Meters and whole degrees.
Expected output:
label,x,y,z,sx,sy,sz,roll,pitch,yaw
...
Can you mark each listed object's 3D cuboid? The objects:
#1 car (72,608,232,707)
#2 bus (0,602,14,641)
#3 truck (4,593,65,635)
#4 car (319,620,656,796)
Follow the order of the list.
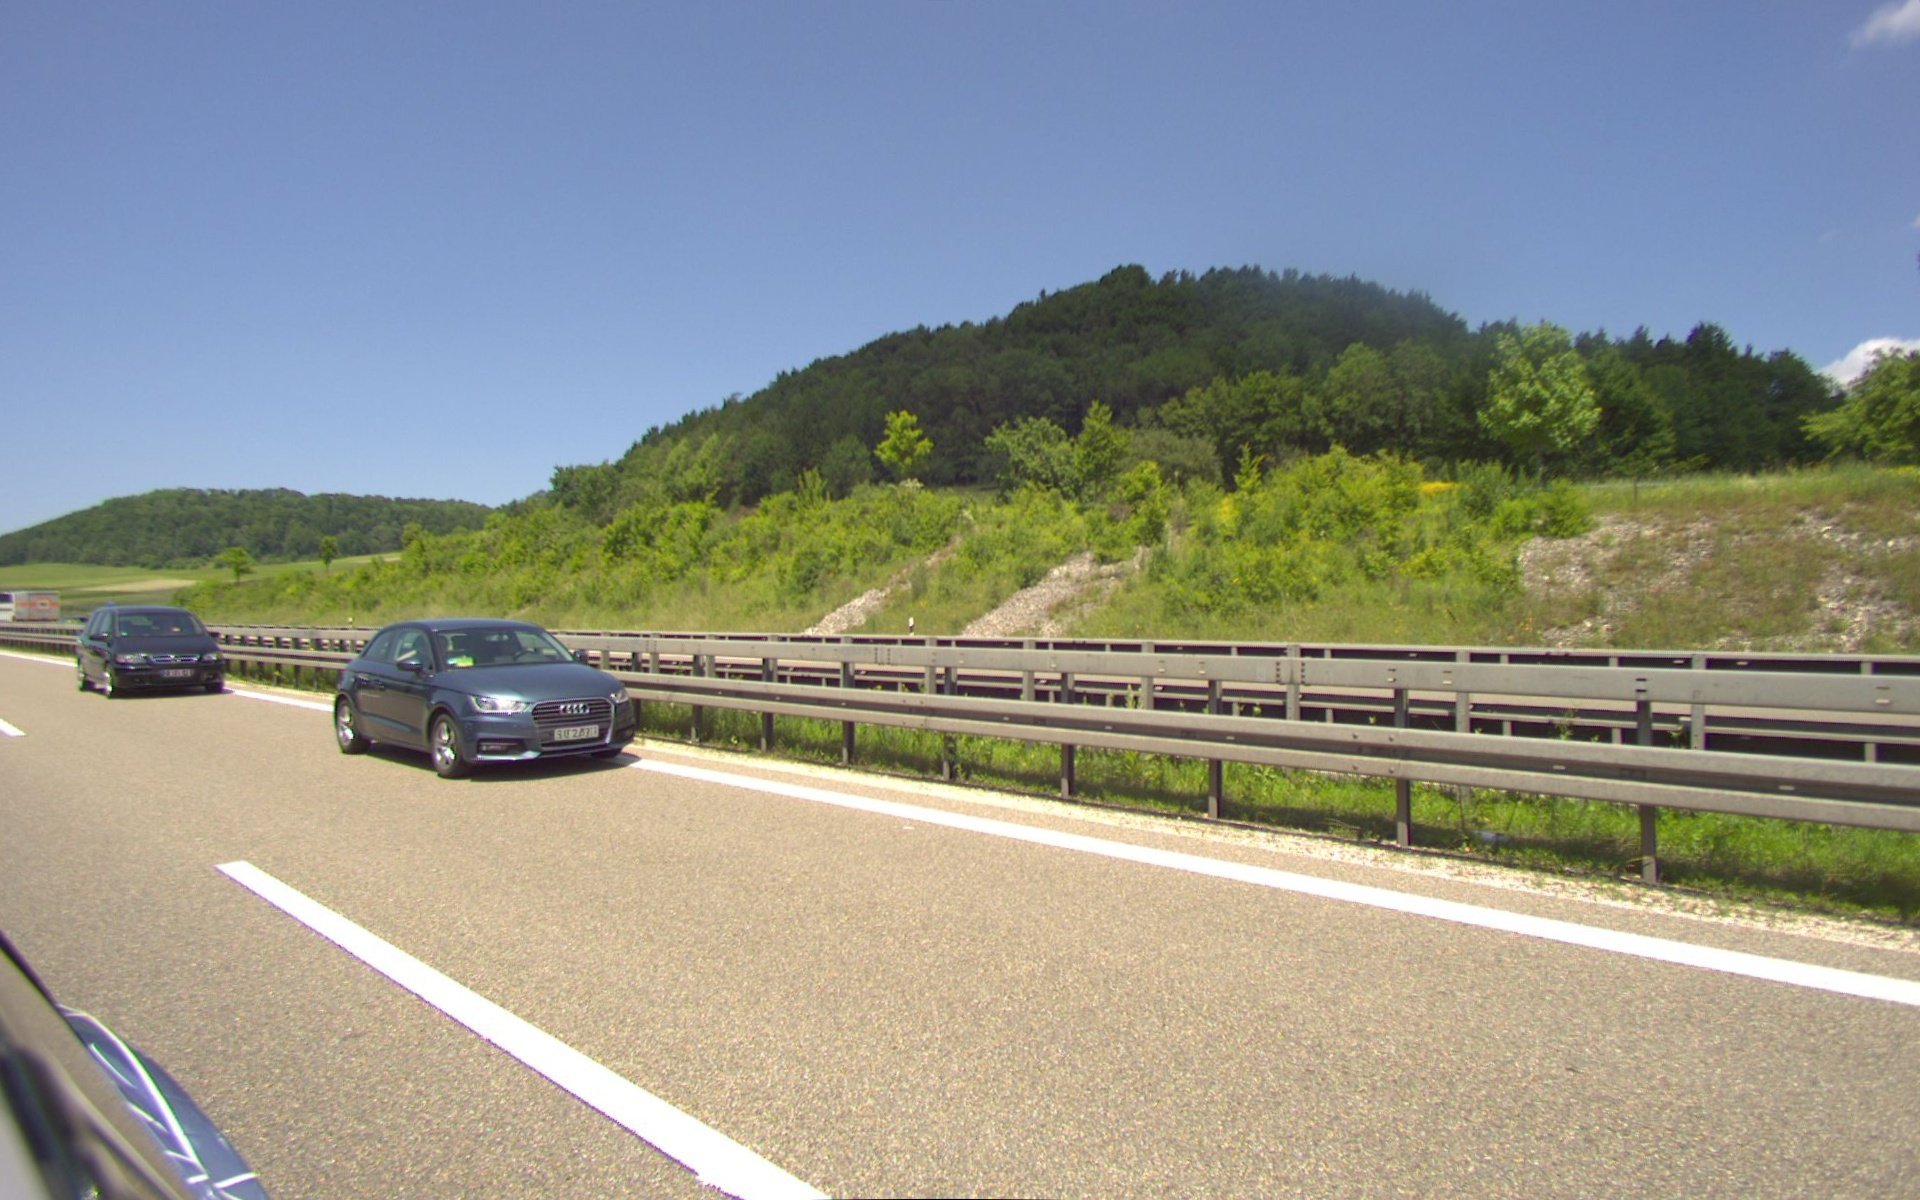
label,x,y,z,sx,sy,sz,roll,pitch,yaw
car,-15.314,0.999,19.104,4.447,1.647,1.781,-1,-1,44
bus,-97.104,2.139,100.923,14.810,3.689,2.652,-1,-1,41
truck,-95.524,1.490,104.376,9.918,4.134,3.580,-1,-1,41
car,-4.846,0.910,10.124,3.999,1.399,1.670,-1,-1,43
